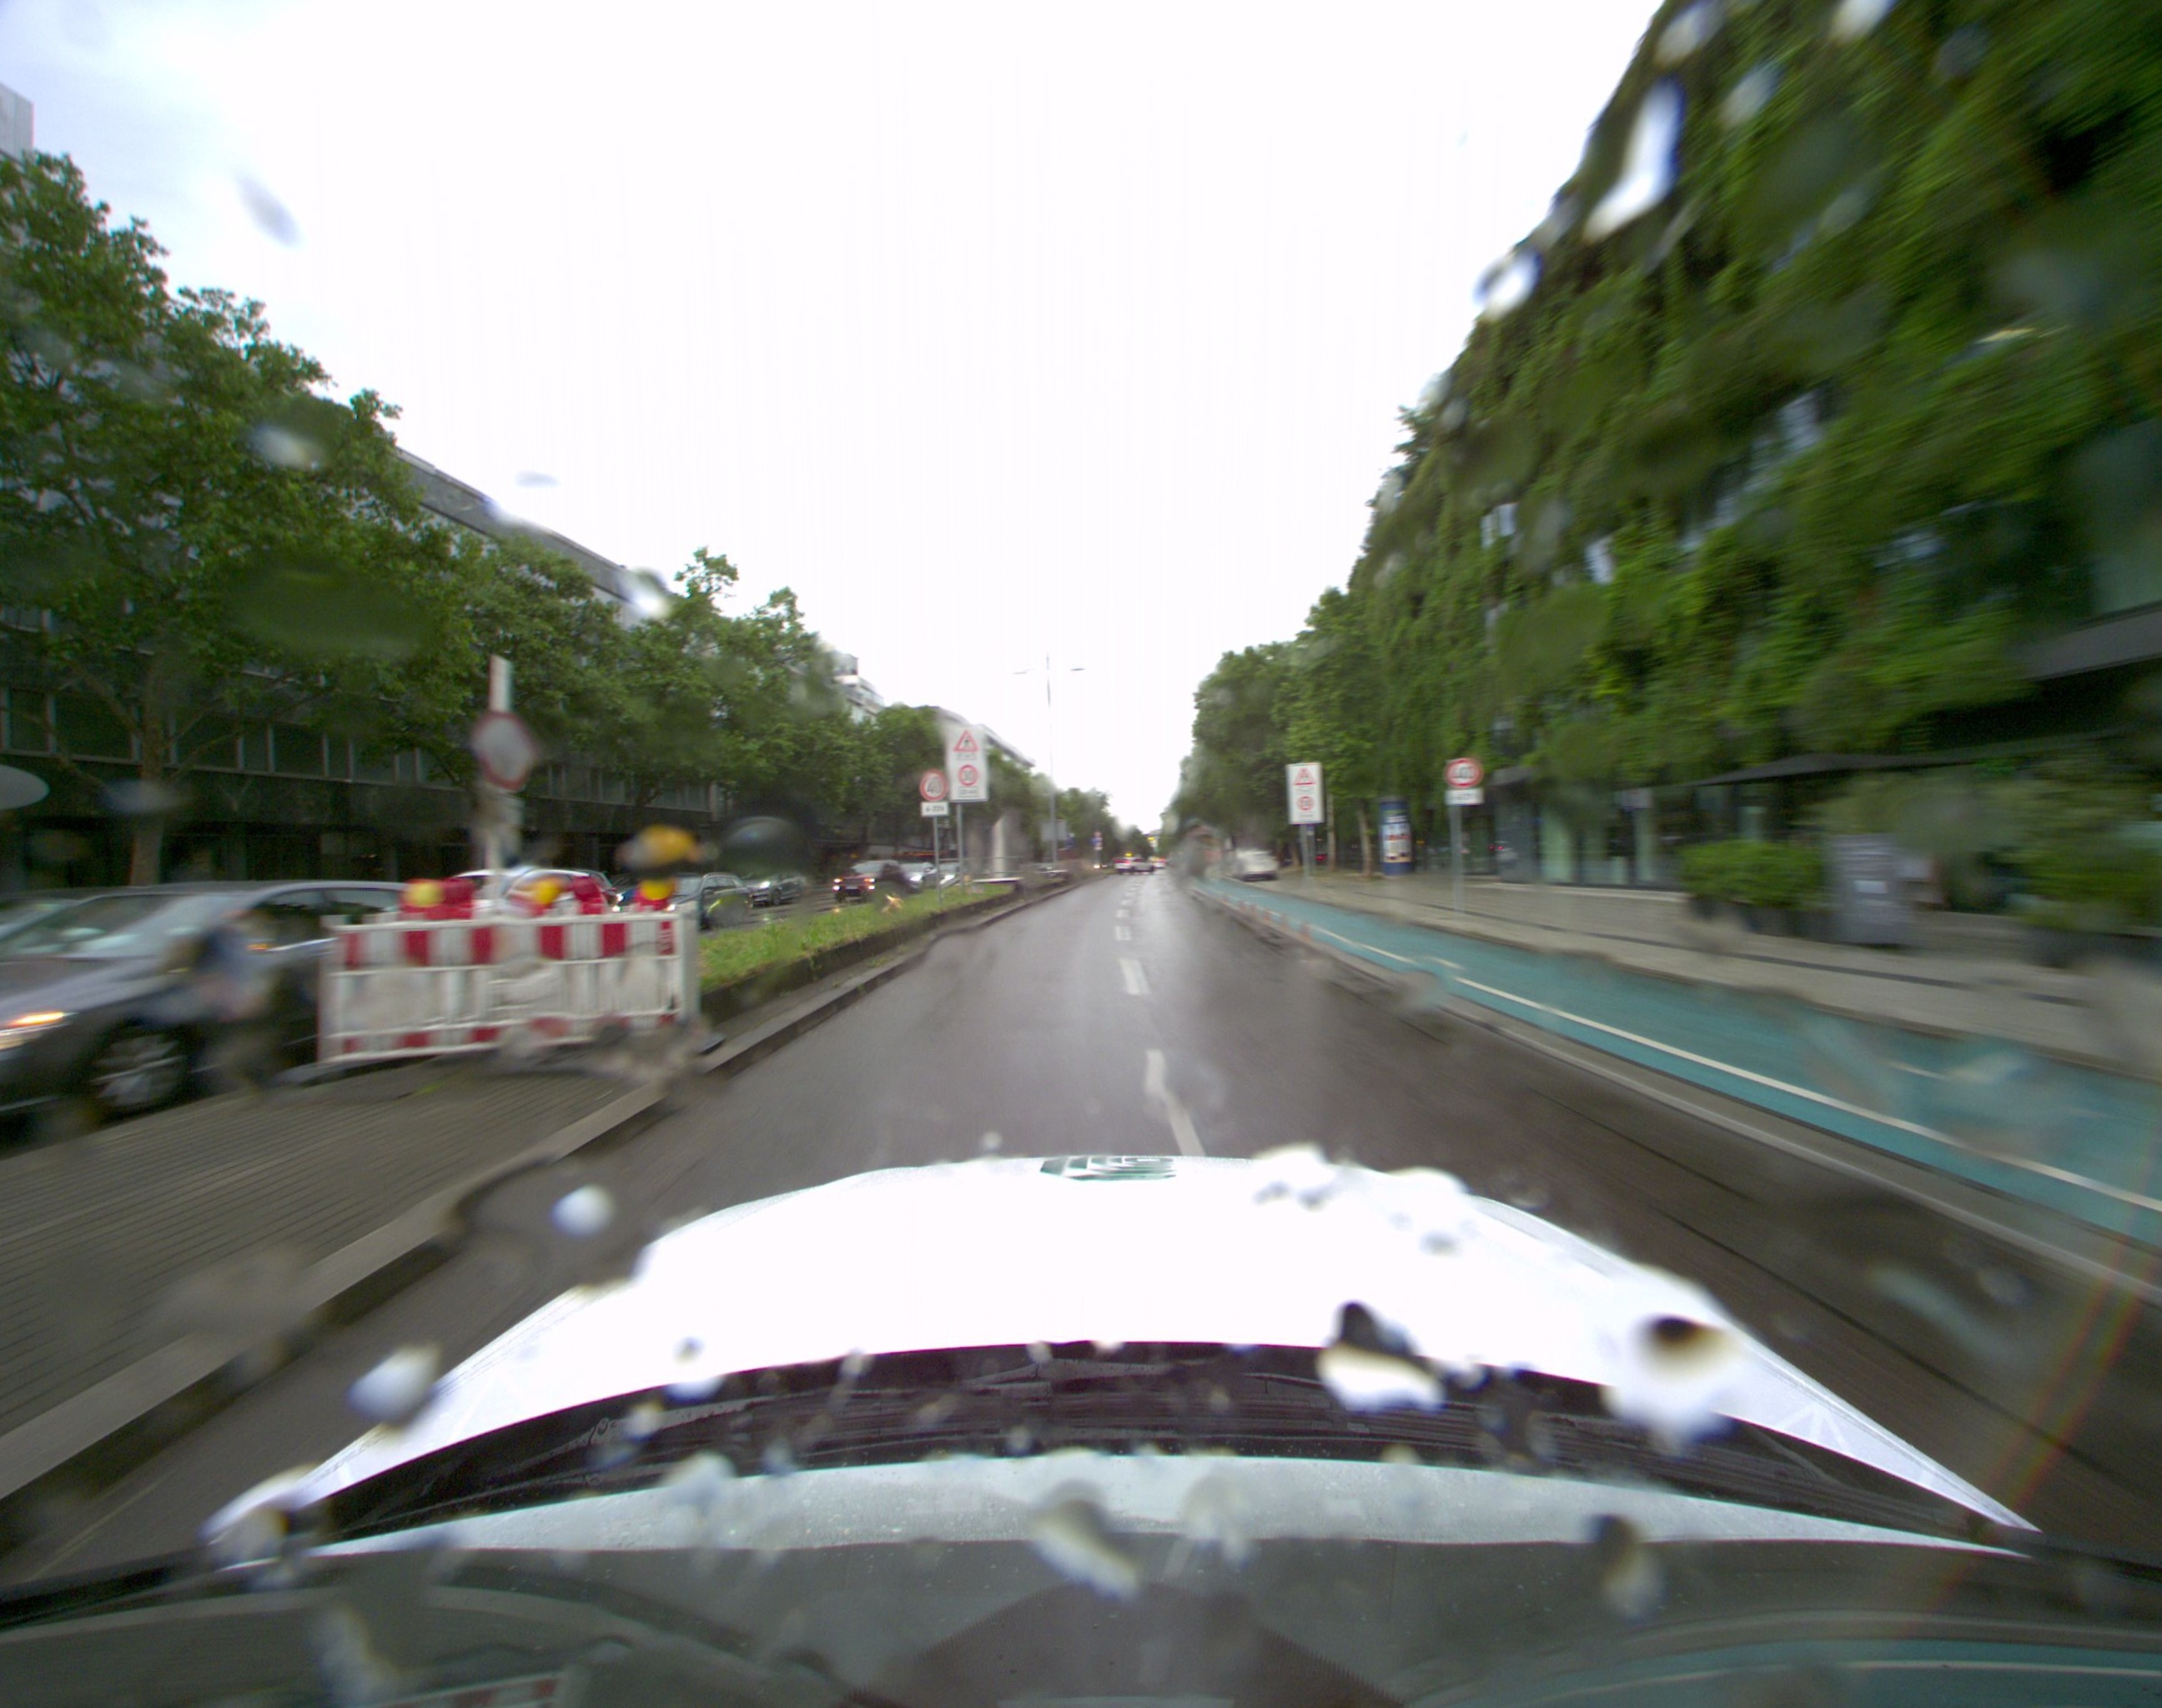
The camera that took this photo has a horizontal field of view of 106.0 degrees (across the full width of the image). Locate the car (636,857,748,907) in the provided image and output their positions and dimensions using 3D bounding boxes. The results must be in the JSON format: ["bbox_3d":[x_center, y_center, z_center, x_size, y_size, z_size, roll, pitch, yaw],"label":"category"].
[{"bbox_3d":[-13.156,0.898,27.834,1.746,1.565,4.002,-1,-1,2],"label":"car"}]

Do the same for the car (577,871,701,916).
[{"bbox_3d":[-16.299,1.398,30.362,1.883,1.446,4.591,-1,0,3],"label":"car"}]

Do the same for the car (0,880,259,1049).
[{"bbox_3d":[-10.995,1.090,8.442,1.716,1.476,3.421,-2,0,-8],"label":"car"}]

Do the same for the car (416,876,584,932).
[{"bbox_3d":[-16.859,1.403,23.916,1.986,1.387,3.979,-1,0,1],"label":"car"}]

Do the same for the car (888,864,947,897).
[{"bbox_3d":[-8.727,1.375,43.865,1.726,1.573,4.839,-2,0,6],"label":"car"}]

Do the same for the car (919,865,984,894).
[{"bbox_3d":[-7.854,1.504,49.820,1.898,1.552,4.564,-2,0,19],"label":"car"}]

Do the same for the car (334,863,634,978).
[{"bbox_3d":[-10.638,1.063,15.118,1.870,1.685,4.801,-2,0,2],"label":"car"}]

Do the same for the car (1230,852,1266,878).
[{"bbox_3d":[11.355,0.710,55.529,1.834,1.632,4.793,-2,0,5],"label":"car"}]

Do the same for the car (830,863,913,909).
[{"bbox_3d":[-9.135,1.338,36.031,1.826,1.766,5.117,-2,0,6],"label":"car"}]

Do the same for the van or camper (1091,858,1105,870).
[{"bbox_3d":[2.974,1.794,143.551,1.984,1.913,5.259,-2,0,5],"label":"van or camper"}]

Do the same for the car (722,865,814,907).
[{"bbox_3d":[-12.819,1.250,33.658,1.712,1.491,4.574,-2,0,4],"label":"car"}]

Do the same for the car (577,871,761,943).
[{"bbox_3d":[-10.236,1.241,20.747,1.835,1.451,4.923,-2,0,5],"label":"car"}]

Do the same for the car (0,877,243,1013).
[{"bbox_3d":[-13.778,1.139,10.377,1.831,1.565,4.221,-1,0,-1],"label":"car"}]

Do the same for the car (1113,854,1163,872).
[{"bbox_3d":[5.611,0.871,80.012,4.915,1.655,1.976,-2,0,-42],"label":"car"}]

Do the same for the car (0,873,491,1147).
[{"bbox_3d":[-7.230,0.976,6.664,1.839,1.482,4.160,-2,0,-2],"label":"car"}]

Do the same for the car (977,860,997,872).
[{"bbox_3d":[-11.611,1.472,101.037,1.685,1.468,3.465,-2,0,5],"label":"car"}]

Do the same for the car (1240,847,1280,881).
[{"bbox_3d":[10.761,0.563,49.321,1.833,1.838,5.104,-3,0,7],"label":"car"}]

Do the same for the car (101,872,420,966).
[{"bbox_3d":[-16.905,1.240,17.215,1.986,1.604,4.589,-1,0,1],"label":"car"}]

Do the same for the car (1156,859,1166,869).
[{"bbox_3d":[13.675,1.718,139.142,1.613,1.666,4.006,-3,0,5],"label":"car"}]
